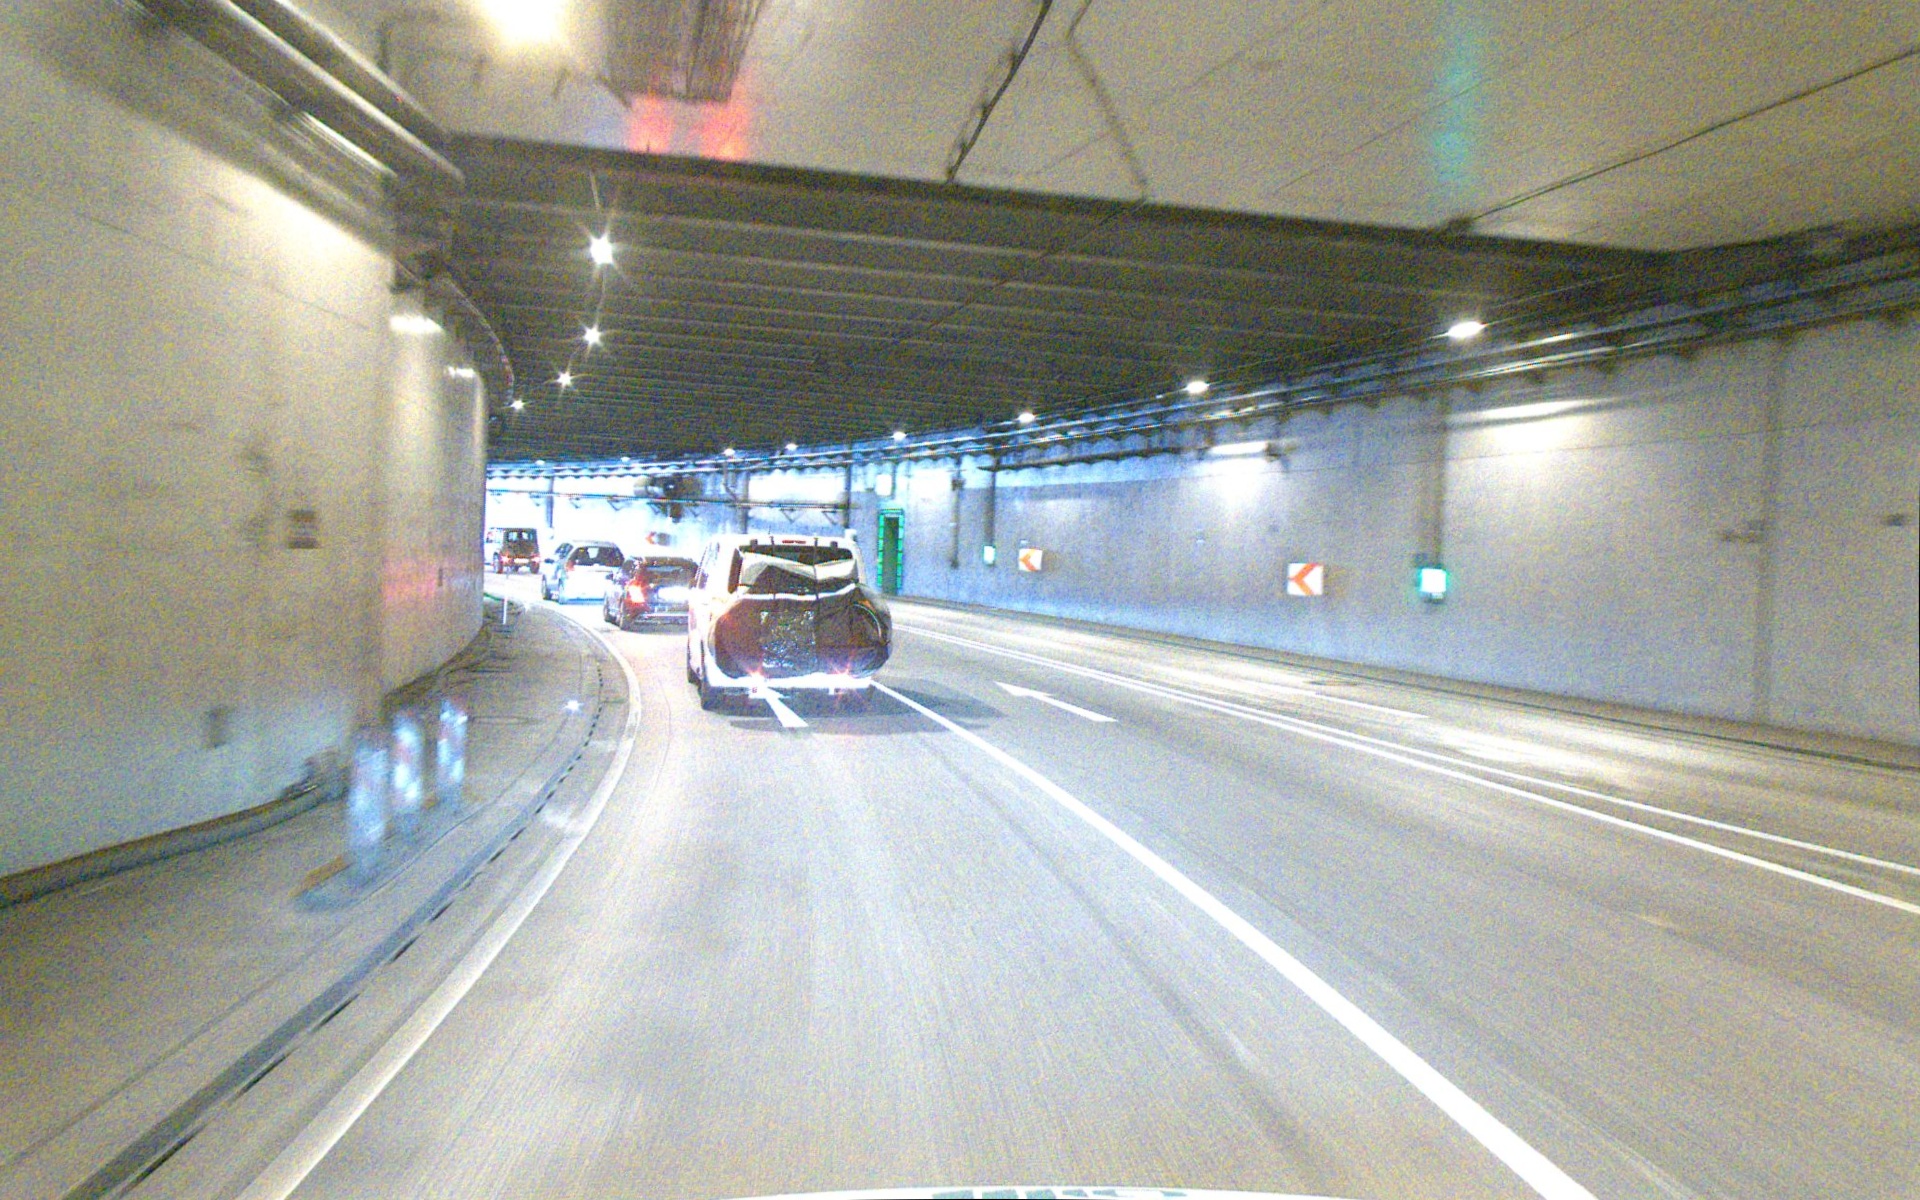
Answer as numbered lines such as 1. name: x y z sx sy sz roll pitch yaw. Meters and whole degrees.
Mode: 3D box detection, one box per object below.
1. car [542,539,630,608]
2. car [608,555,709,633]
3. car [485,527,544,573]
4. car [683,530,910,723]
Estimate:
1. car: -9.529 -0.680 41.955 1.581 1.621 3.332 2 0 -23
2. car: -5.995 -0.154 32.637 1.577 1.419 3.262 0 2 -17
3. car: -16.925 -1.892 62.787 1.582 1.658 3.329 1 1 -25
4. car: -2.041 0.192 18.978 1.959 1.879 5.284 0 1 -13
